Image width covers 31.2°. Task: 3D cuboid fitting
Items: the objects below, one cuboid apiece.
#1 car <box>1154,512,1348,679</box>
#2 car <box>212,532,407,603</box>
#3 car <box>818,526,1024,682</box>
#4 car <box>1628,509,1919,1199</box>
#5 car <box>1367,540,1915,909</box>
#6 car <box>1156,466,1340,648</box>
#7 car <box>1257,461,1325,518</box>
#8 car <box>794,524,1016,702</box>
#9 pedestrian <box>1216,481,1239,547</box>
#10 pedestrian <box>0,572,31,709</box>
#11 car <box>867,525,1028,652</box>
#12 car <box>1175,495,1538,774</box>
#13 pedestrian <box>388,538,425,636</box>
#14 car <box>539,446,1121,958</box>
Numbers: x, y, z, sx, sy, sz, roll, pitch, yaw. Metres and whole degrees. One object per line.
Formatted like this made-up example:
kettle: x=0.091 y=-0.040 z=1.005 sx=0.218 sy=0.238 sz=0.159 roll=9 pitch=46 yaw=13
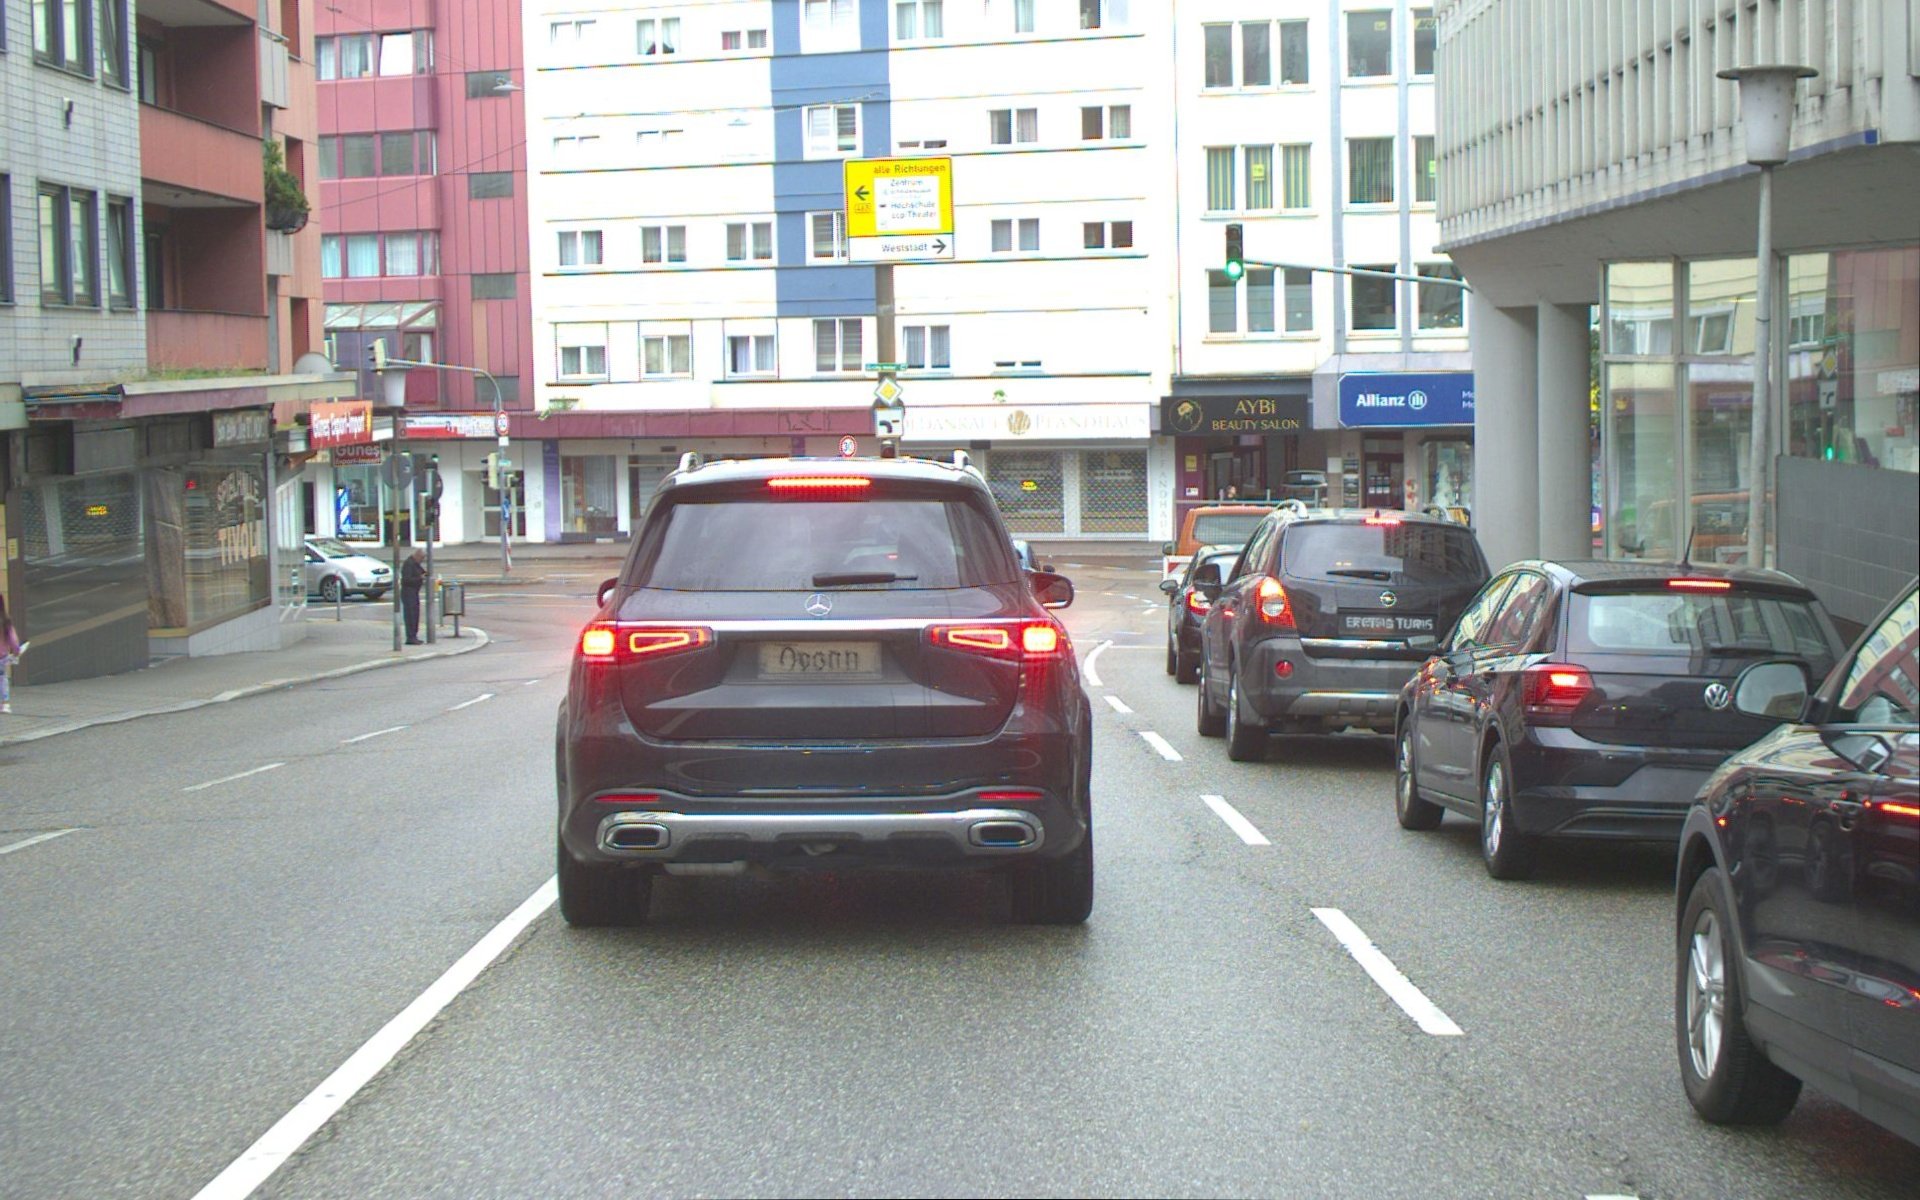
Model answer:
car: x=3.048 y=-0.065 z=36.758 sx=1.823 sy=1.653 sz=4.495 roll=1 pitch=0 yaw=2
car: x=-15.261 y=-0.780 z=80.698 sx=4.165 sy=1.587 sz=1.739 roll=1 pitch=2 yaw=16
car: x=-0.367 y=-0.005 z=35.960 sx=1.993 sy=1.481 sz=4.237 roll=-1 pitch=1 yaw=0
car: x=2.794 y=0.613 z=7.474 sx=1.823 sy=1.554 sz=4.201 roll=2 pitch=1 yaw=0
car: x=3.099 y=0.489 z=16.439 sx=1.688 sy=1.472 sz=4.000 roll=2 pitch=1 yaw=-1
car: x=3.763 y=-0.576 z=45.204 sx=2.243 sy=2.220 sz=5.428 roll=1 pitch=1 yaw=4
car: x=10.135 y=-3.363 z=105.091 sx=1.798 sy=1.664 sz=3.999 roll=-1 pitch=1 yaw=9
car: x=-0.512 y=0.061 z=31.316 sx=1.873 sy=1.489 sz=4.401 roll=0 pitch=1 yaw=-1
pedestrian: x=7.183 y=-2.310 z=92.208 sx=0.564 sy=1.683 sz=0.756 roll=-1 pitch=7 yaw=7
pedestrian: x=-9.416 y=0.388 z=33.631 sx=0.533 sy=1.318 sz=0.724 roll=1 pitch=1 yaw=-8
car: x=-0.146 y=-0.131 z=44.251 sx=1.924 sy=1.510 sz=4.662 roll=1 pitch=0 yaw=0
car: x=2.638 y=0.171 z=23.915 sx=1.897 sy=1.689 sz=4.506 roll=2 pitch=1 yaw=-1
pedestrian: x=-9.688 y=-0.231 z=60.145 sx=0.554 sy=1.691 sz=0.624 roll=-1 pitch=1 yaw=-3
car: x=-0.507 y=0.309 z=14.438 sx=2.038 sy=1.792 sz=4.663 roll=0 pitch=1 yaw=-1
